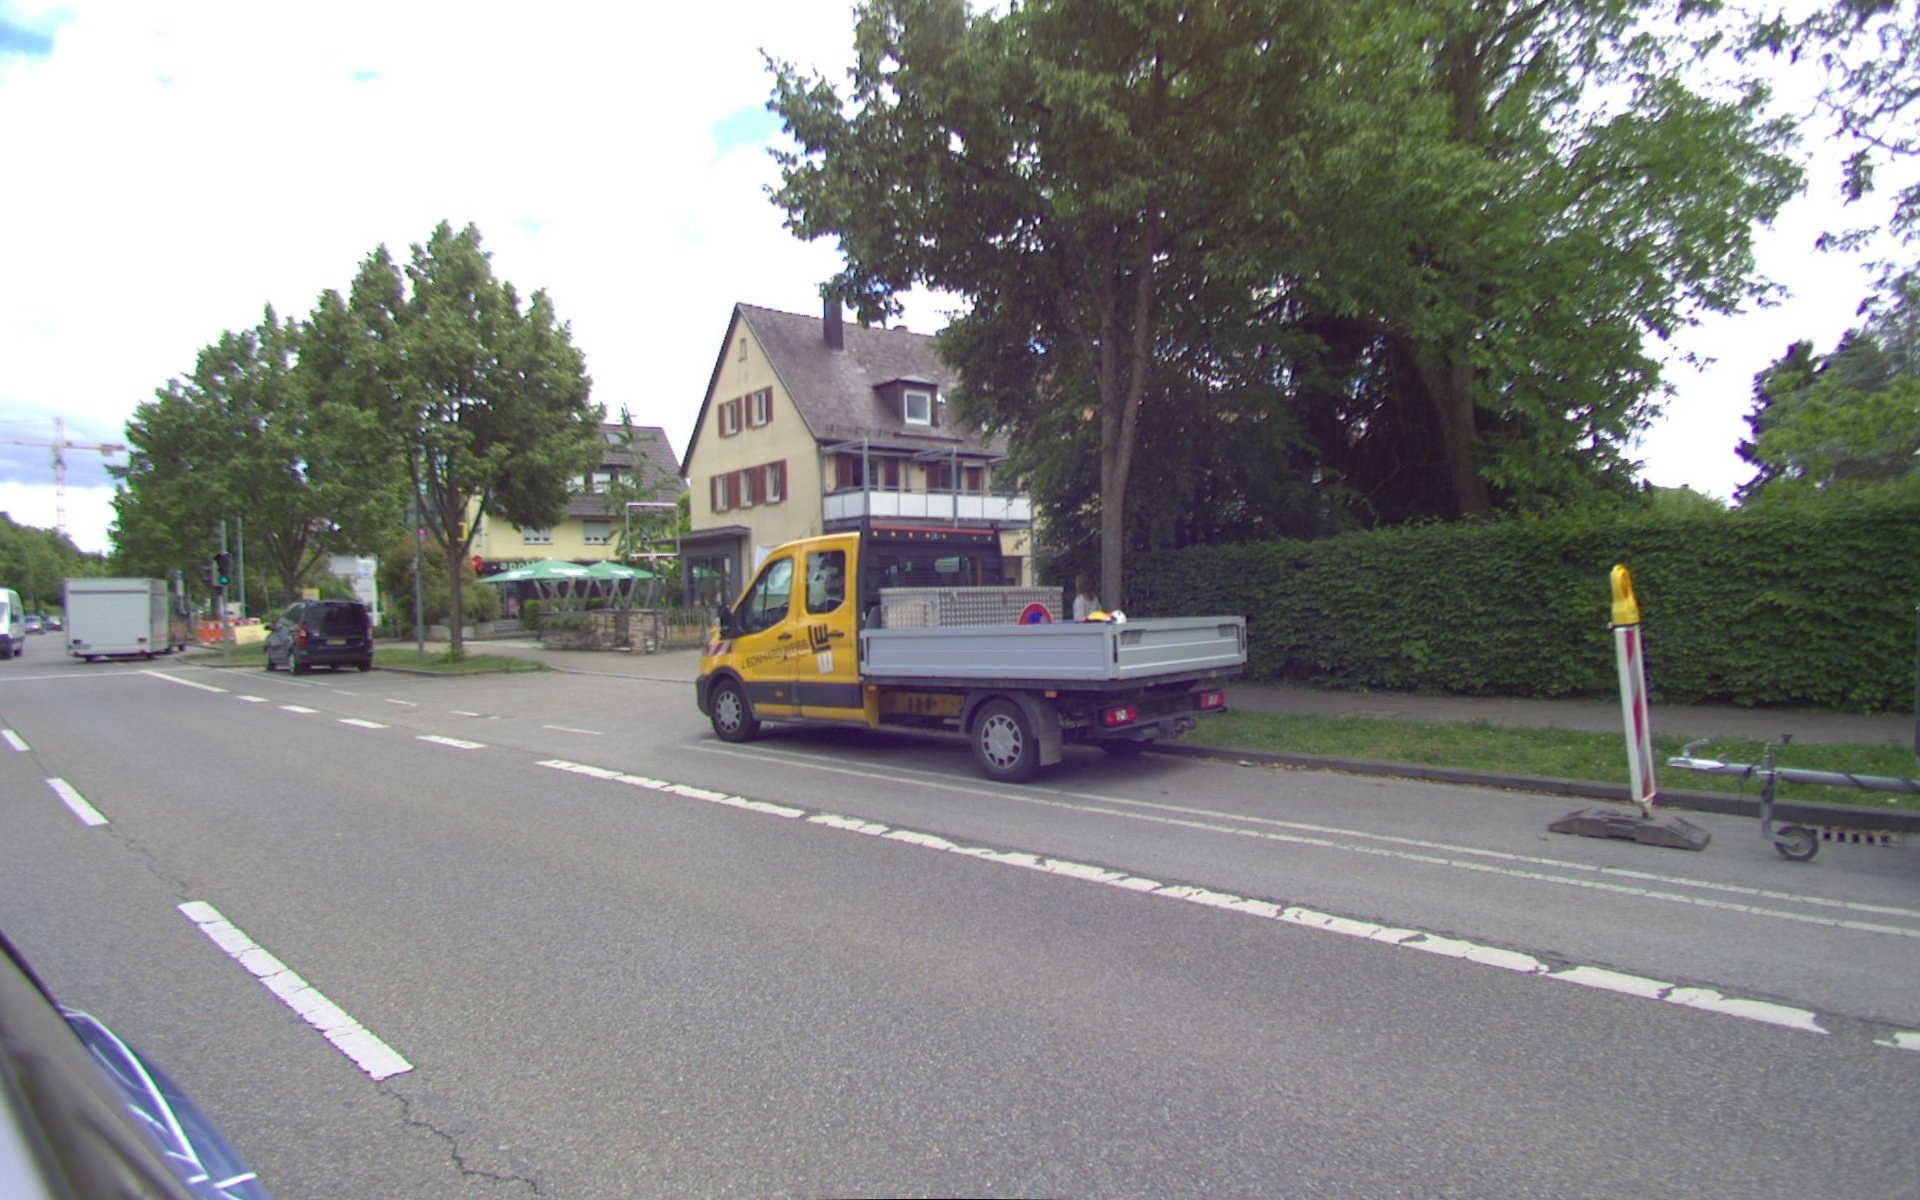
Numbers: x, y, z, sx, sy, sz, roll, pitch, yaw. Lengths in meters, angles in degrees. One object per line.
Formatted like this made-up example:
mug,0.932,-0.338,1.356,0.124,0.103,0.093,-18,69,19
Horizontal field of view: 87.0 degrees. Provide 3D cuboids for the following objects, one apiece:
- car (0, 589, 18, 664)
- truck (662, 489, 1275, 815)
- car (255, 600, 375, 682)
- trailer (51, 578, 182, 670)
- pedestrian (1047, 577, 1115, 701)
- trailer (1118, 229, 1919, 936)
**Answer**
car,-35.483,0.987,36.503,1.969,2.619,4.006,-2,0,-41
truck,-0.365,0.413,10.252,2.269,2.304,6.466,0,-1,-45
car,-16.540,0.988,25.864,1.688,1.888,4.401,-1,0,-45
trailer,-29.295,0.786,35.426,2.598,2.900,6.890,-1,0,-32
pedestrian,1.785,0.558,14.901,0.722,1.755,0.633,-2,0,45
trailer,4.442,-0.068,5.554,2.345,2.985,7.014,0,-1,-45
